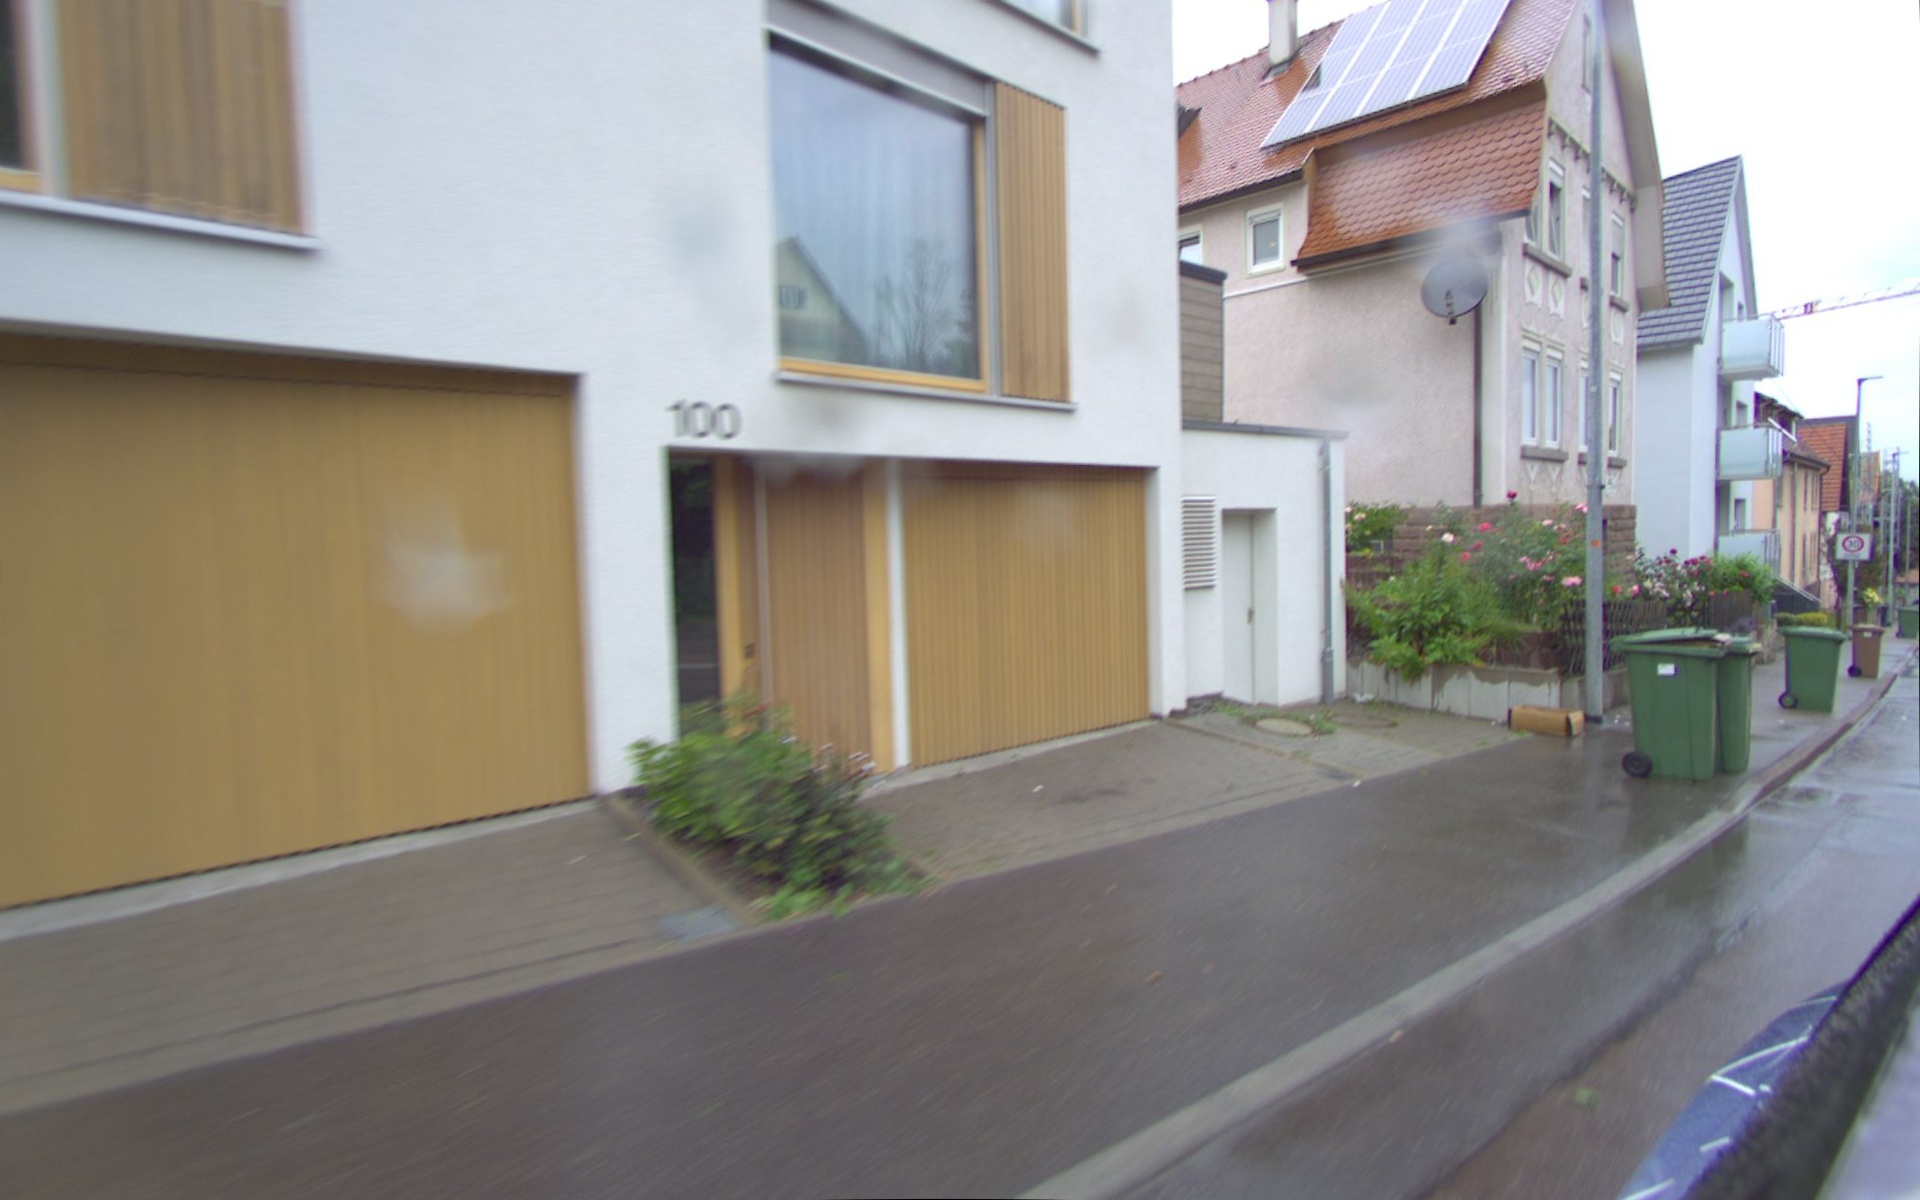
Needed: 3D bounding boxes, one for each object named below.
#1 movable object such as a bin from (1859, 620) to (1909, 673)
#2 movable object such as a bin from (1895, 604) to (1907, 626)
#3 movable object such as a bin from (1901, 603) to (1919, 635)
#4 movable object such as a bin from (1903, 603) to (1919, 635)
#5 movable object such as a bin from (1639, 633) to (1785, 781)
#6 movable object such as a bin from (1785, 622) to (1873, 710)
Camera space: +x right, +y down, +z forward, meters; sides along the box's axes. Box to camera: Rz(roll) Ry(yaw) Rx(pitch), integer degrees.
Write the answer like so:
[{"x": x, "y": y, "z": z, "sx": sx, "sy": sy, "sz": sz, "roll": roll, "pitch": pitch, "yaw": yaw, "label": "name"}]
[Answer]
[{"x": 16.712, "y": 0.836, "z": 18.303, "sx": 0.700, "sy": 0.908, "sz": 0.631, "roll": 0, "pitch": 0, "yaw": -44, "label": "movable object such as a bin"}, {"x": 44.875, "y": 0.714, "z": 48.256, "sx": 0.479, "sy": 1.031, "sz": 0.380, "roll": 0, "pitch": 0, "yaw": -44, "label": "movable object such as a bin"}, {"x": 33.533, "y": 0.665, "z": 35.334, "sx": 0.690, "sy": 1.117, "sz": 0.915, "roll": 0, "pitch": 0, "yaw": -42, "label": "movable object such as a bin"}, {"x": 34.068, "y": 0.663, "z": 35.839, "sx": 0.690, "sy": 1.117, "sz": 0.915, "roll": 0, "pitch": 0, "yaw": -42, "label": "movable object such as a bin"}, {"x": 6.095, "y": 0.829, "z": 8.211, "sx": 0.737, "sy": 1.074, "sz": 0.836, "roll": 0, "pitch": 0, "yaw": -43, "label": "movable object such as a bin"}, {"x": 11.396, "y": 0.844, "z": 13.277, "sx": 0.748, "sy": 1.084, "sz": 0.797, "roll": 0, "pitch": 0, "yaw": -42, "label": "movable object such as a bin"}]
